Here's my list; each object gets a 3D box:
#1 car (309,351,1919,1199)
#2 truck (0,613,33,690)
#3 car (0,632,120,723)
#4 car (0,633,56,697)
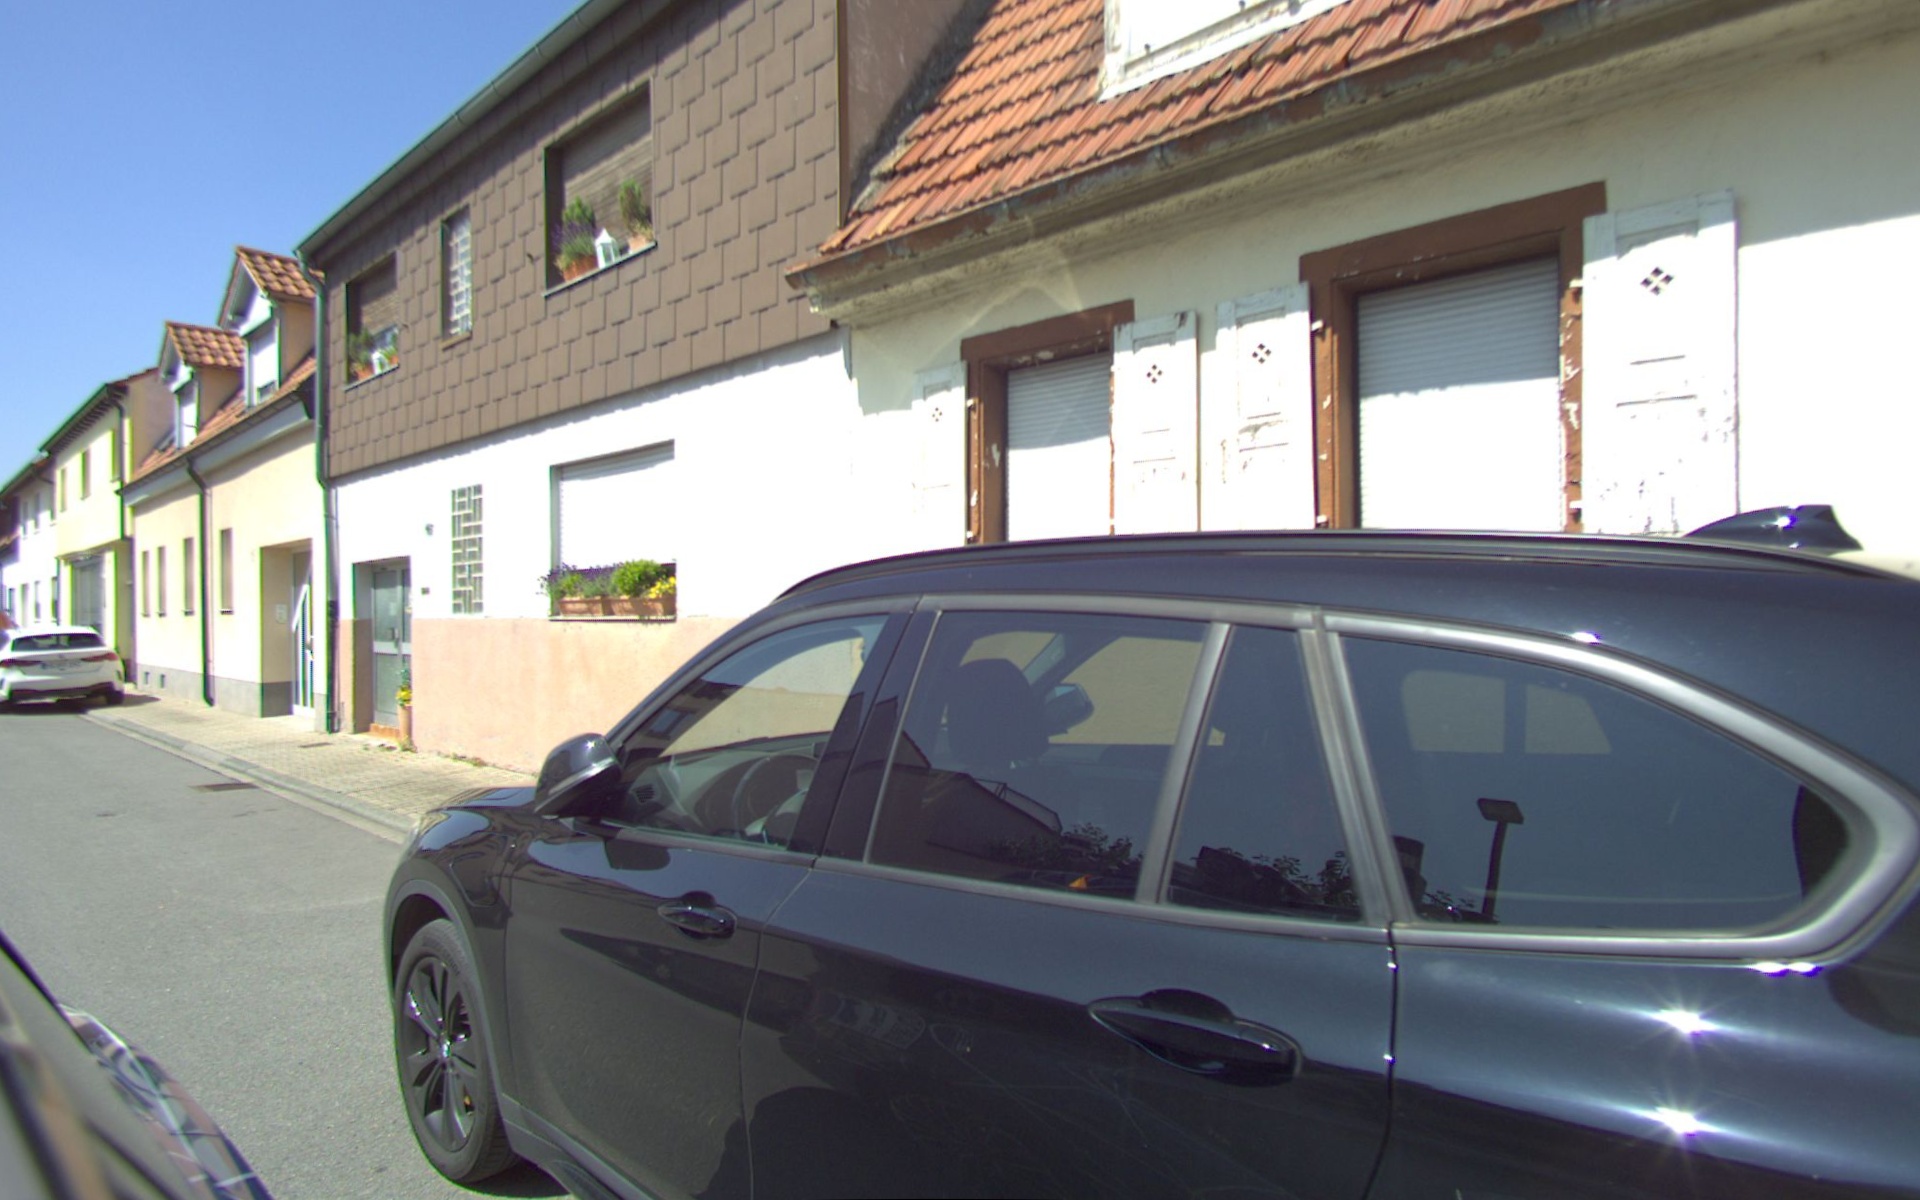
[{"bbox_3d":[0.169,0.666,2.303,4.616,1.586,1.780,-1,-1,44],"label":"car"},{"bbox_3d":[-27.408,1.390,28.031,5.080,2.029,2.158,-1,-1,43],"label":"truck"},{"bbox_3d":[-16.959,1.339,18.655,4.216,1.465,1.763,-1,-1,43],"label":"car"},{"bbox_3d":[-23.306,1.503,24.231,4.629,1.405,1.901,-1,-4,41],"label":"car"}]
